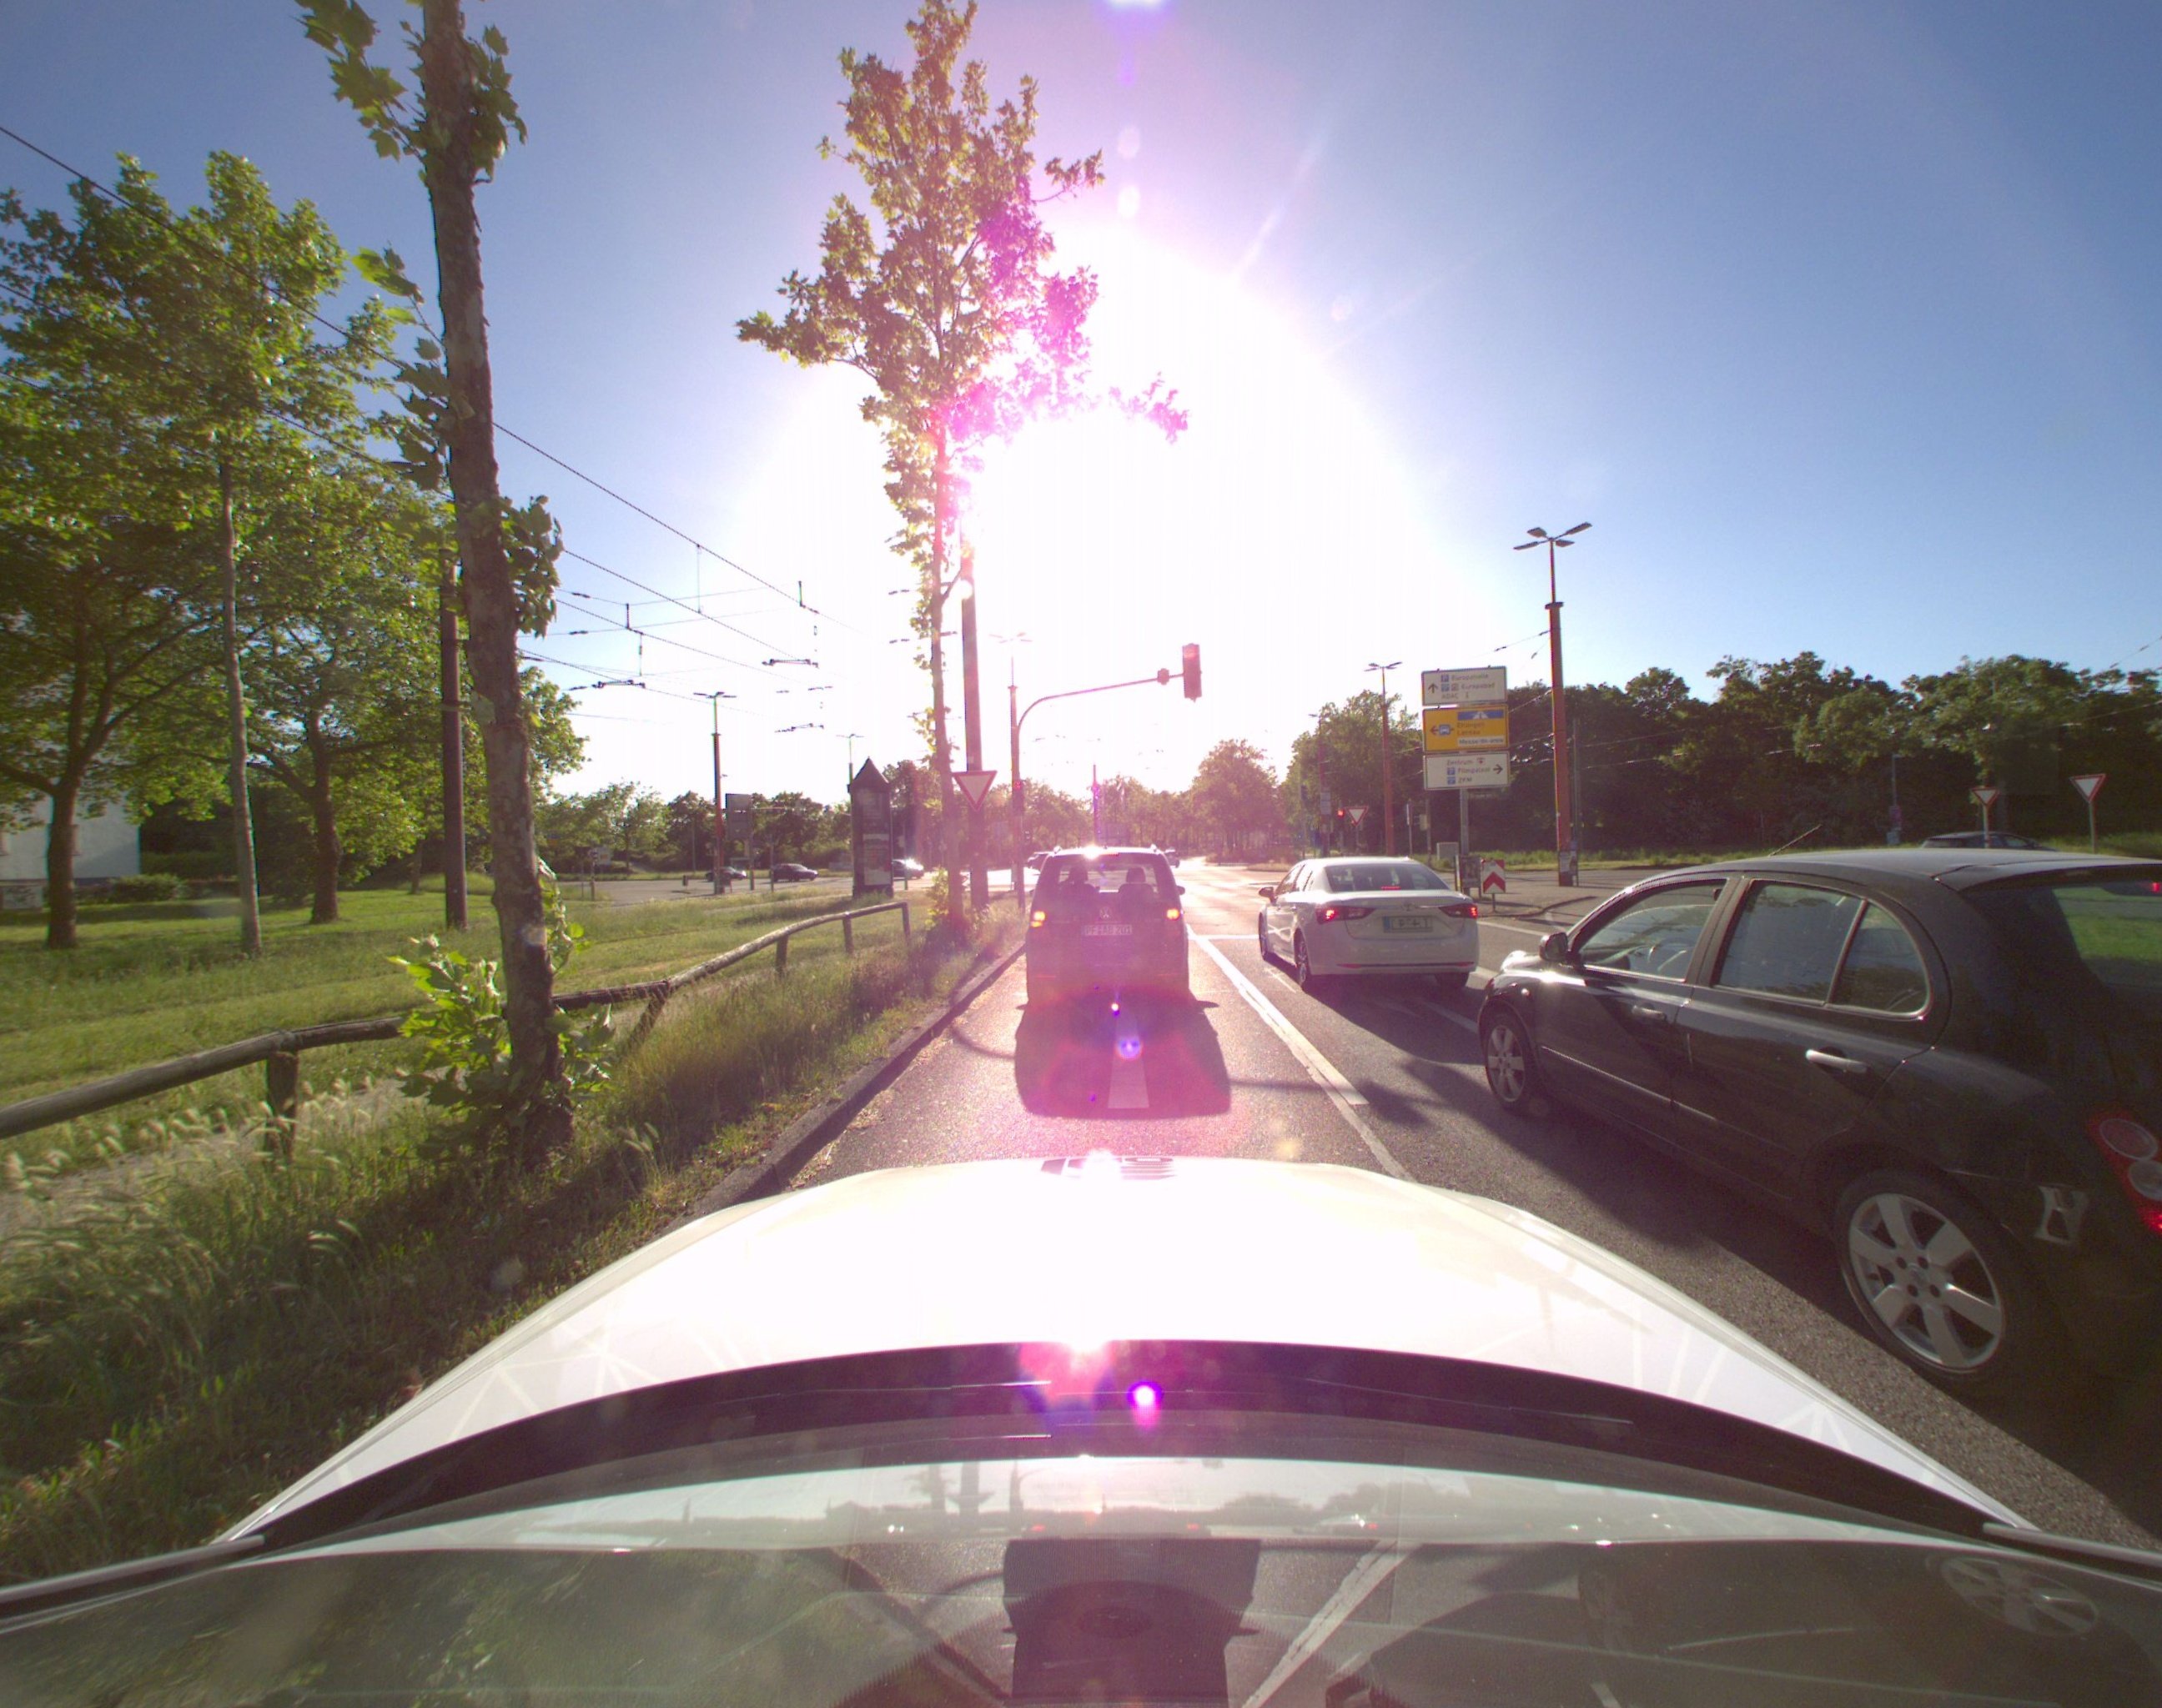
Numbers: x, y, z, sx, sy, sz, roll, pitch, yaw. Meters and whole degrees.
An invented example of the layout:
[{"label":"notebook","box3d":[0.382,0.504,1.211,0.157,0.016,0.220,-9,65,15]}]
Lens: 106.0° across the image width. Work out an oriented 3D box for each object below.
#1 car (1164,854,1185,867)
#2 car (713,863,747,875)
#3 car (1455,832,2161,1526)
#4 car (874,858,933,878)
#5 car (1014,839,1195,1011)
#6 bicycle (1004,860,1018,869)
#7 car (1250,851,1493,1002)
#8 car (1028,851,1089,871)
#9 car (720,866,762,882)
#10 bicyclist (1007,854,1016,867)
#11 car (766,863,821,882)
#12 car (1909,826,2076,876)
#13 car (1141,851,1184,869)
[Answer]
[{"label":"car","box3d":[11.571,0.823,100.588,1.894,1.464,4.239,-2,-1,15]},{"label":"car","box3d":[-43.325,1.827,100.556,3.770,1.310,1.672,-2,0,21]},{"label":"car","box3d":[3.168,0.694,3.515,1.550,1.506,3.517,-2,0,2]},{"label":"car","box3d":[-13.701,1.089,62.793,4.007,1.464,1.924,-2,0,22]},{"label":"car","box3d":[0.297,0.696,9.991,1.731,1.641,4.002,-2,0,2]},{"label":"bicycle","box3d":[-8.144,1.225,94.796,0.728,1.090,1.971,-2,0,21]},{"label":"car","box3d":[3.298,0.719,10.119,1.708,1.454,4.147,-2,0,3]},{"label":"car","box3d":[-1.743,0.544,63.214,4.373,1.464,1.902,-2,0,-19]},{"label":"car","box3d":[-31.153,1.834,74.614,3.765,1.310,1.753,-2,0,34]},{"label":"bicyclist","box3d":[-8.113,0.758,95.016,0.686,1.457,0.879,-2,-1,20]},{"label":"car","box3d":[-23.691,1.494,67.110,4.187,1.464,1.926,-2,0,28]},{"label":"car","box3d":[29.305,-0.104,26.234,3.877,1.469,1.746,-2,0,-8]},{"label":"car","box3d":[7.149,0.515,71.488,1.889,1.464,4.250,-2,0,35]}]
